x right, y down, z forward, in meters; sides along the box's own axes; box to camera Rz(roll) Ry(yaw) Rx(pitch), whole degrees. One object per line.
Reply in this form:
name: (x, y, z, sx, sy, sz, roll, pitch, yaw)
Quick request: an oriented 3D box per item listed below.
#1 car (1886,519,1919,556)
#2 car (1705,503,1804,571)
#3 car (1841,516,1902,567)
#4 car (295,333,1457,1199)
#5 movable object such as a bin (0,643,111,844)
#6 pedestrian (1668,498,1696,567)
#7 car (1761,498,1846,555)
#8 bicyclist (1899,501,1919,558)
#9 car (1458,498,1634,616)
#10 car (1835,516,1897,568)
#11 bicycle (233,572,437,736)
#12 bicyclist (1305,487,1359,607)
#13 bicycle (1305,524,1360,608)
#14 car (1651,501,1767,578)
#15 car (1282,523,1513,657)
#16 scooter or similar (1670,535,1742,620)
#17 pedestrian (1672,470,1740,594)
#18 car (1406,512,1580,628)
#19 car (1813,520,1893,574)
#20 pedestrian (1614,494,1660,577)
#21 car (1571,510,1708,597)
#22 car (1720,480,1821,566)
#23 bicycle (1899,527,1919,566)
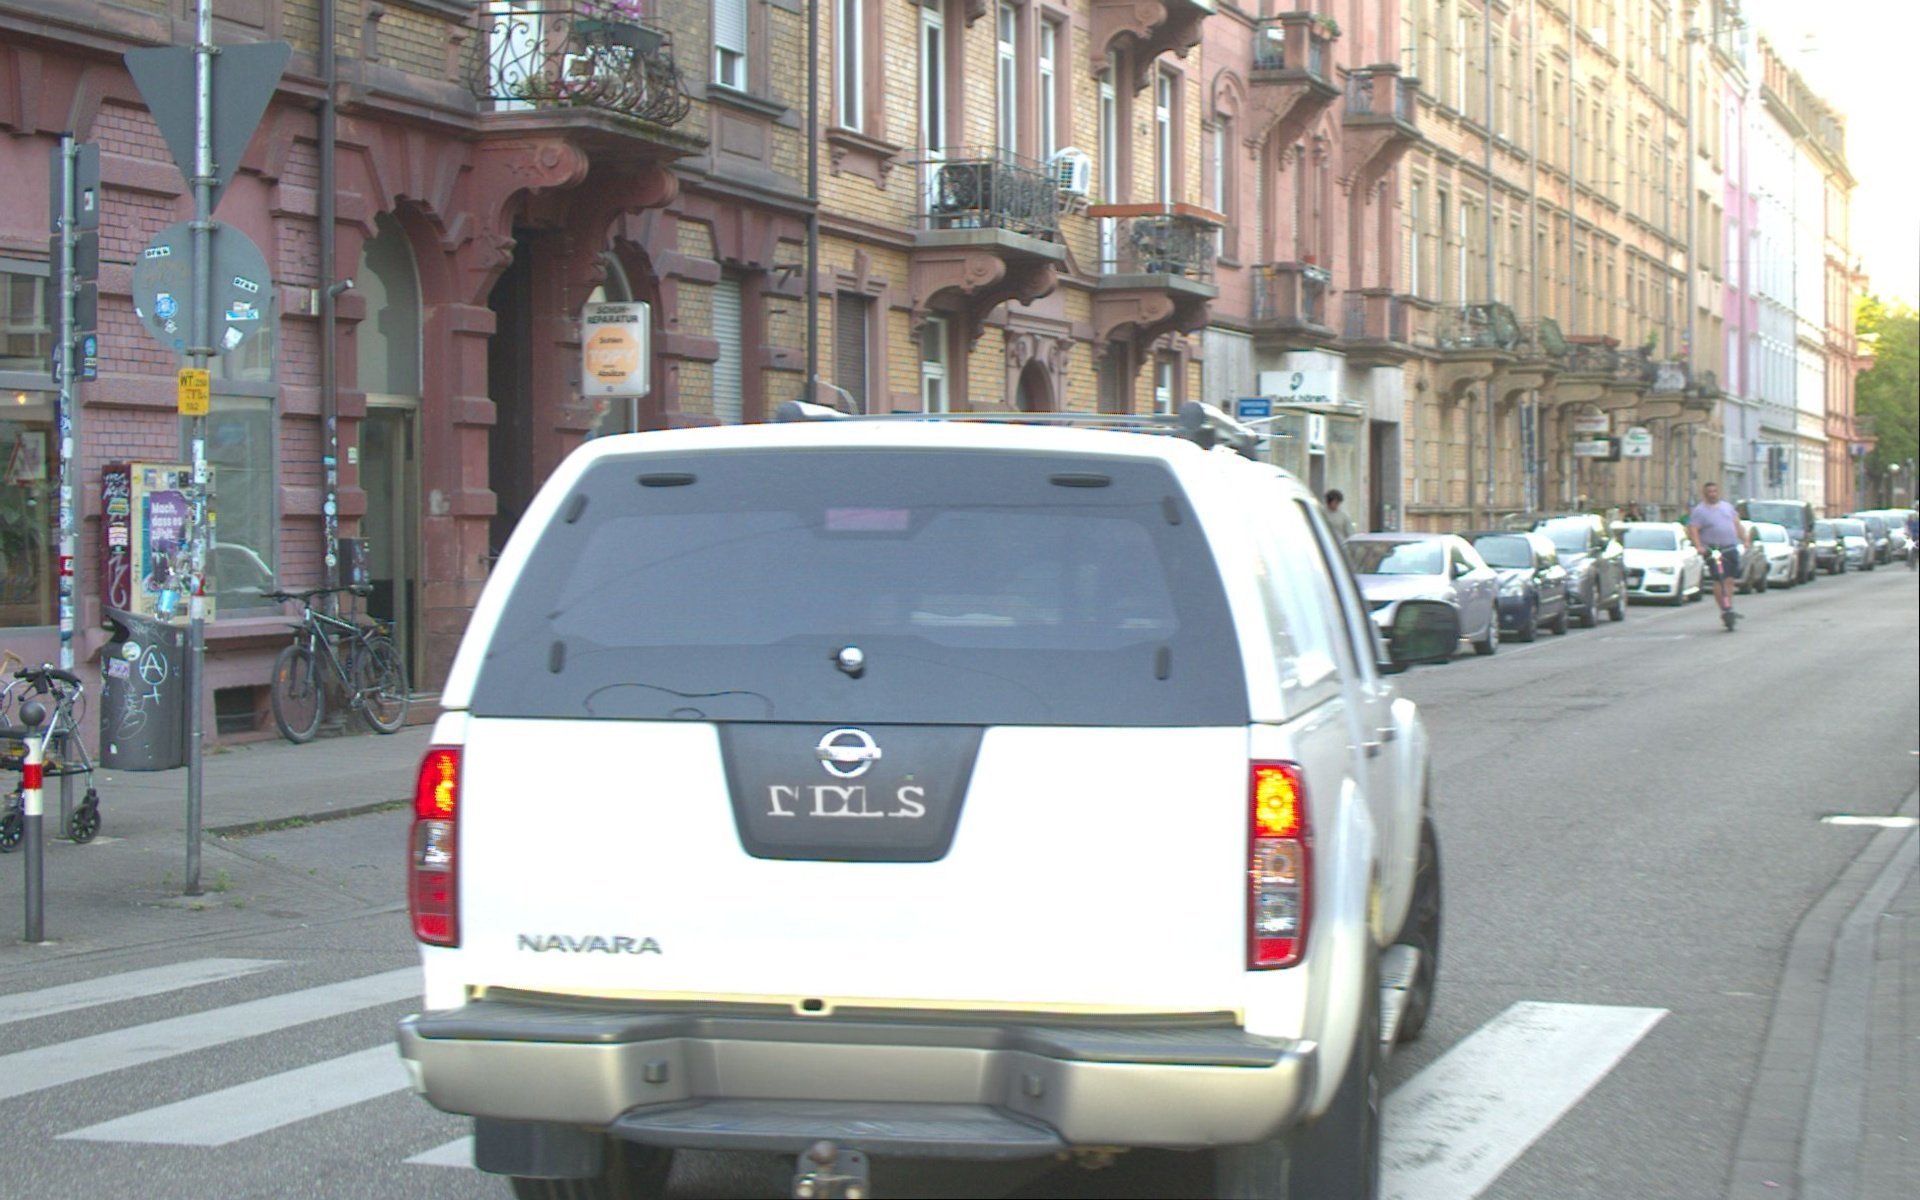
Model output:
car: (37.330, -2.457, 135.020, 1.700, 1.421, 4.019, 2, 2, 16)
car: (17.761, -1.423, 76.757, 1.785, 1.418, 4.482, 2, 2, 17)
car: (30.190, -1.954, 113.828, 1.846, 1.653, 4.249, 0, 1, 16)
car: (0.192, 0.398, 8.727, 1.911, 1.847, 5.268, 1, 1, 10)
movable object such as a bin: (-4.594, 0.671, 16.452, 0.762, 0.912, 0.729, 1, 0, 16)
pedestrian: (19.118, -1.795, 91.033, 0.580, 1.765, 0.997, 3, 3, 15)
car: (22.173, -1.927, 90.297, 1.738, 1.413, 4.774, 2, 1, 18)
bicyclist: (27.260, -2.024, 98.499, 0.645, 1.615, 0.917, -1, 1, 16)
car: (8.711, -0.673, 50.852, 1.855, 1.628, 4.442, 1, 2, 19)
car: (28.568, -1.840, 108.337, 1.637, 1.560, 3.778, 1, 2, 18)
bicycle: (-4.284, 0.353, 23.700, 0.426, 1.049, 1.896, 1, 2, 22)
bicyclist: (5.413, -0.774, 50.052, 0.708, 1.723, 0.843, 1, 0, 4)
bicycle: (5.409, -0.494, 50.026, 0.708, 1.192, 1.741, 1, 1, 4)
car: (15.172, -1.246, 69.482, 1.719, 1.452, 3.996, 2, 2, 20)
car: (5.105, -0.165, 39.612, 1.724, 1.416, 4.578, 2, 2, 19)
scooter or similar: (10.082, -0.309, 46.437, 0.808, 1.100, 1.171, 0, 2, 19)
pedestrian: (10.072, -0.925, 46.424, 0.808, 1.654, 0.672, 0, 1, 19)
car: (7.104, -0.431, 45.607, 1.586, 1.415, 3.693, 1, 2, 20)
car: (25.777, -1.538, 99.137, 1.836, 1.453, 4.203, 3, 2, 19)
pedestrian: (14.381, -1.367, 73.045, 0.555, 1.749, 1.020, 1, 1, 37)
car: (11.987, -0.851, 60.460, 1.760, 1.407, 4.504, 1, 2, 19)
car: (19.299, -1.847, 81.747, 1.995, 1.917, 4.948, 2, 2, 16)
bicycle: (27.268, -1.528, 98.496, 0.645, 1.077, 2.167, -1, 1, 16)
